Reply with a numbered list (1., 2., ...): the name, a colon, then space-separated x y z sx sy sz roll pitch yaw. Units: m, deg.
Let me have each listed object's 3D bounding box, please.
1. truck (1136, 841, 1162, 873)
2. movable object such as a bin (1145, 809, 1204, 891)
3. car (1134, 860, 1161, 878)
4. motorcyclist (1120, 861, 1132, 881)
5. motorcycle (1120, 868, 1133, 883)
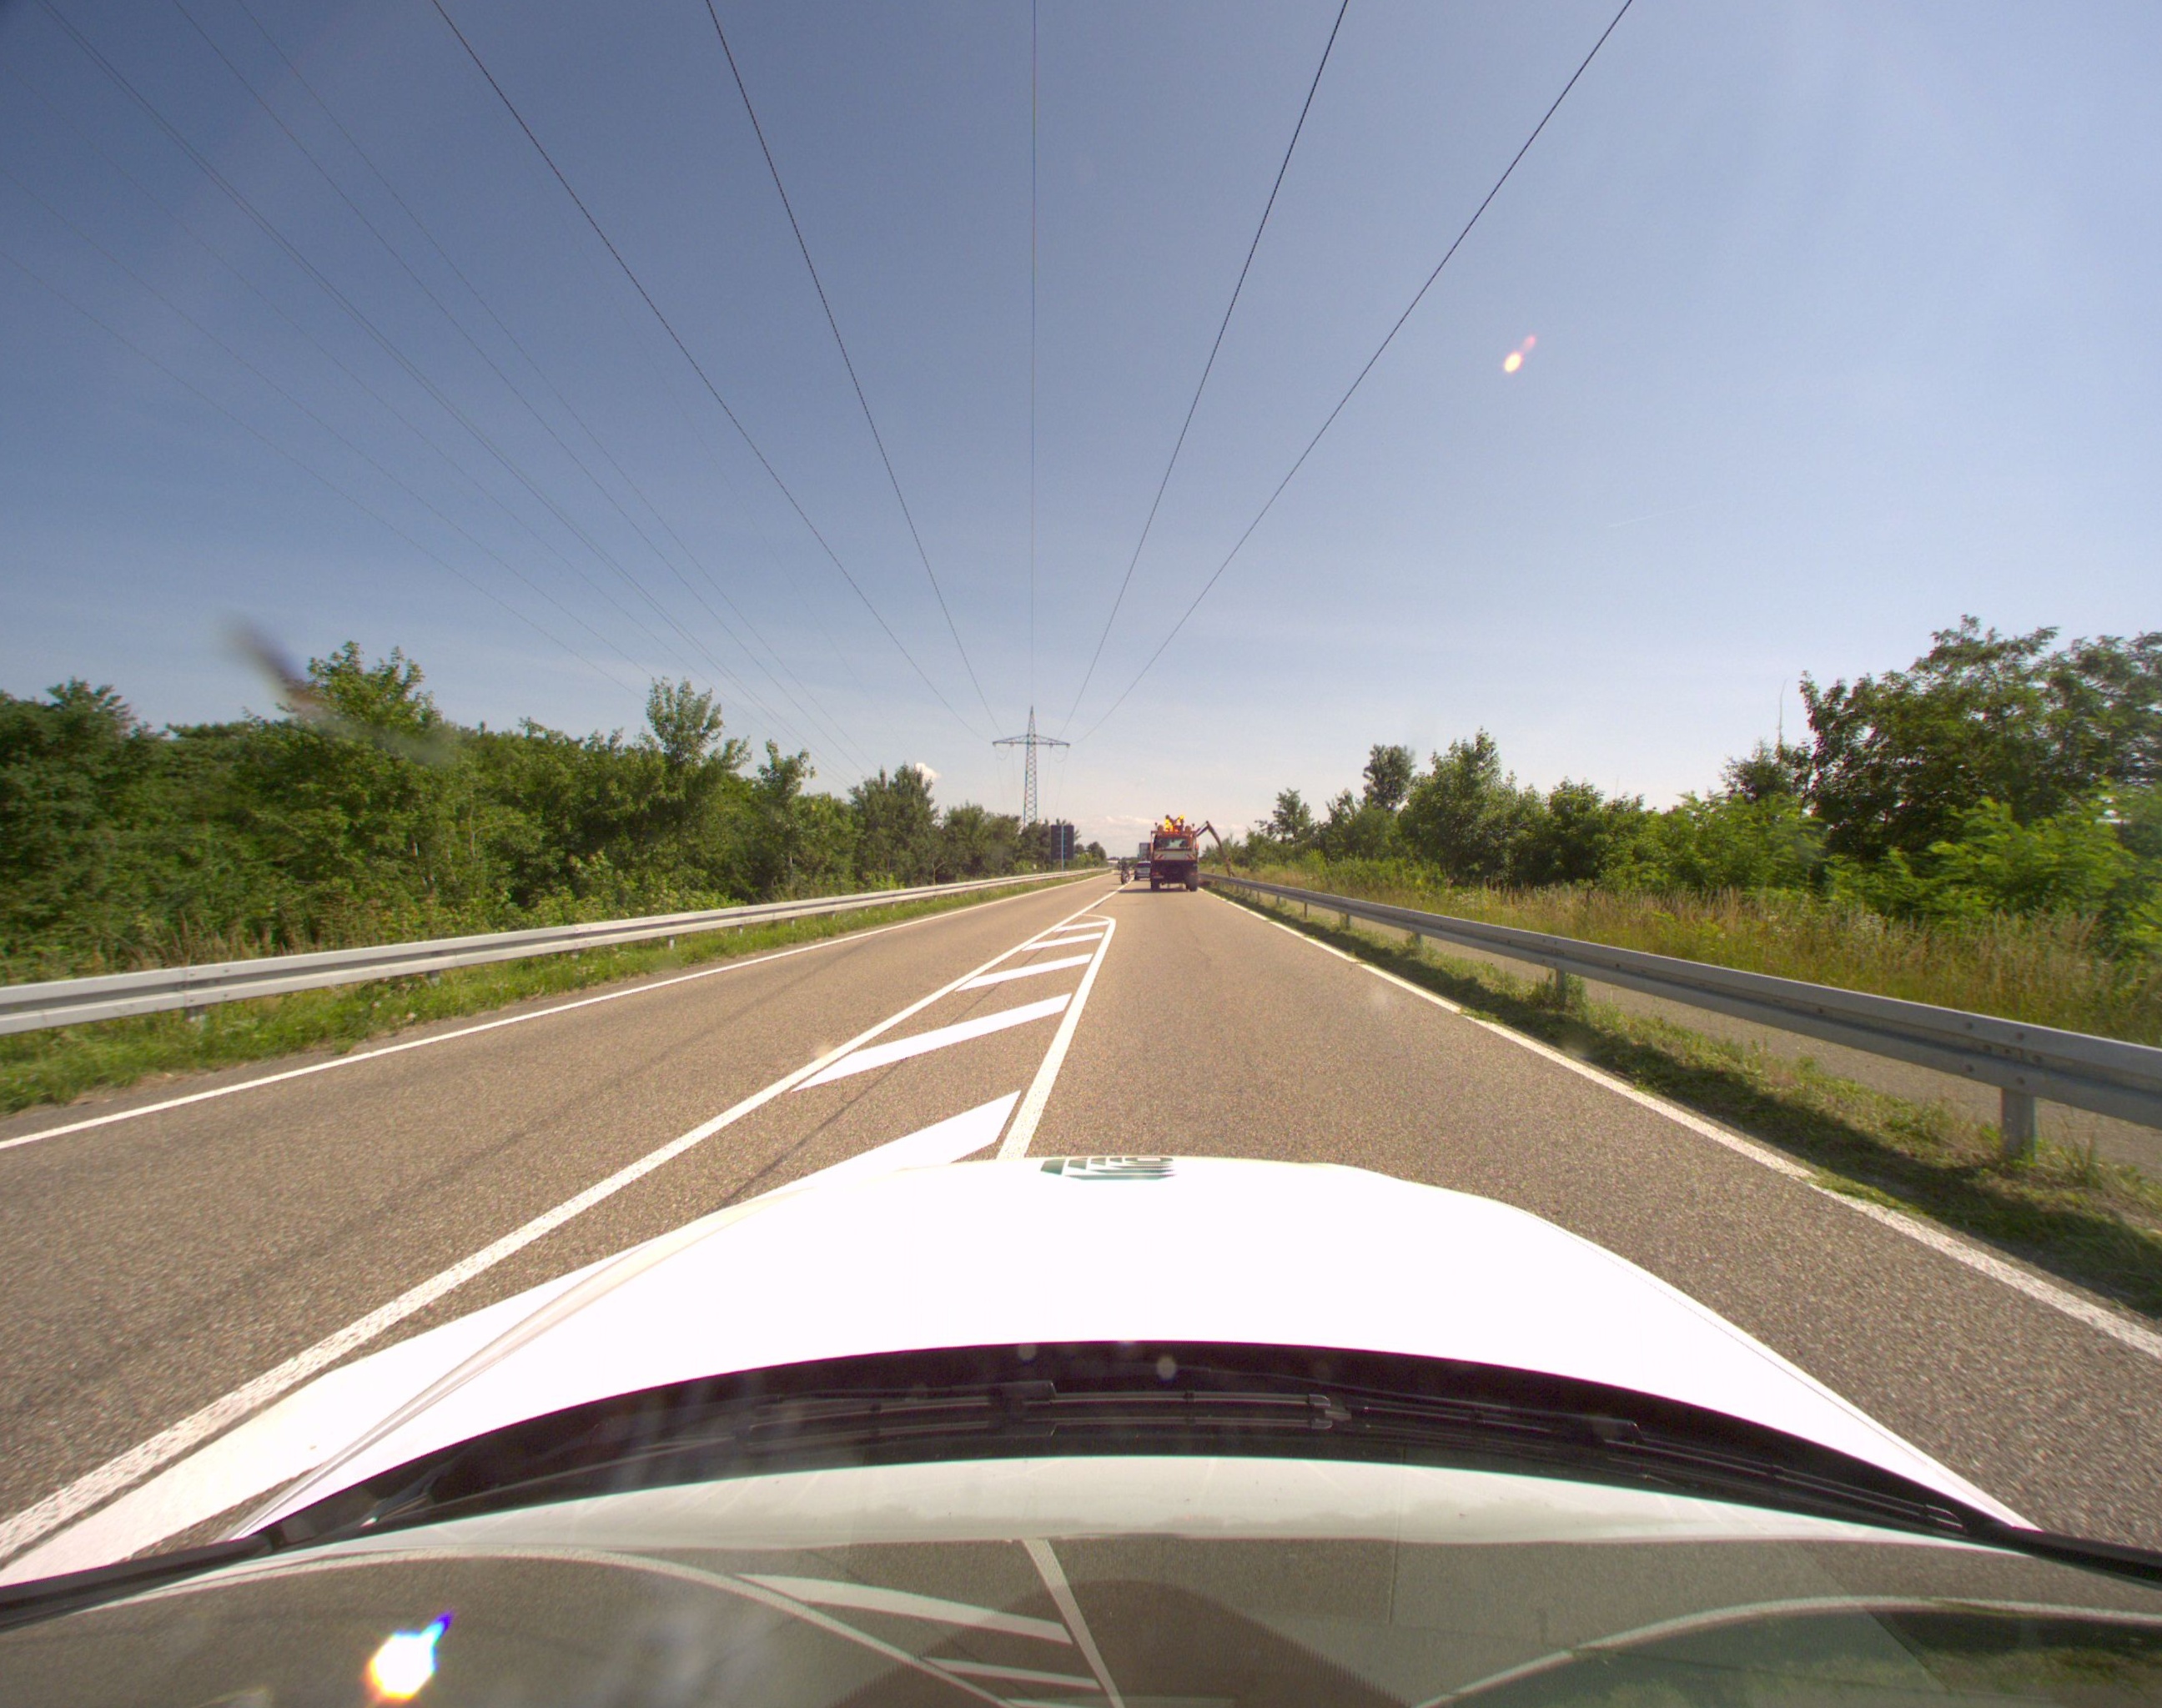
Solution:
1. truck: 9.126 0.456 108.548 3.226 3.979 9.456 0 -1 5
2. movable object such as a bin: 4.871 -0.160 43.106 2.740 3.839 9.459 0 0 5
3. car: 5.466 1.227 66.873 1.814 1.451 4.011 -1 0 10
4. motorcyclist: 3.030 1.134 54.489 0.776 1.325 0.814 0 -1 5
5. motorcycle: 3.021 1.426 54.466 0.776 0.975 2.364 0 0 5
